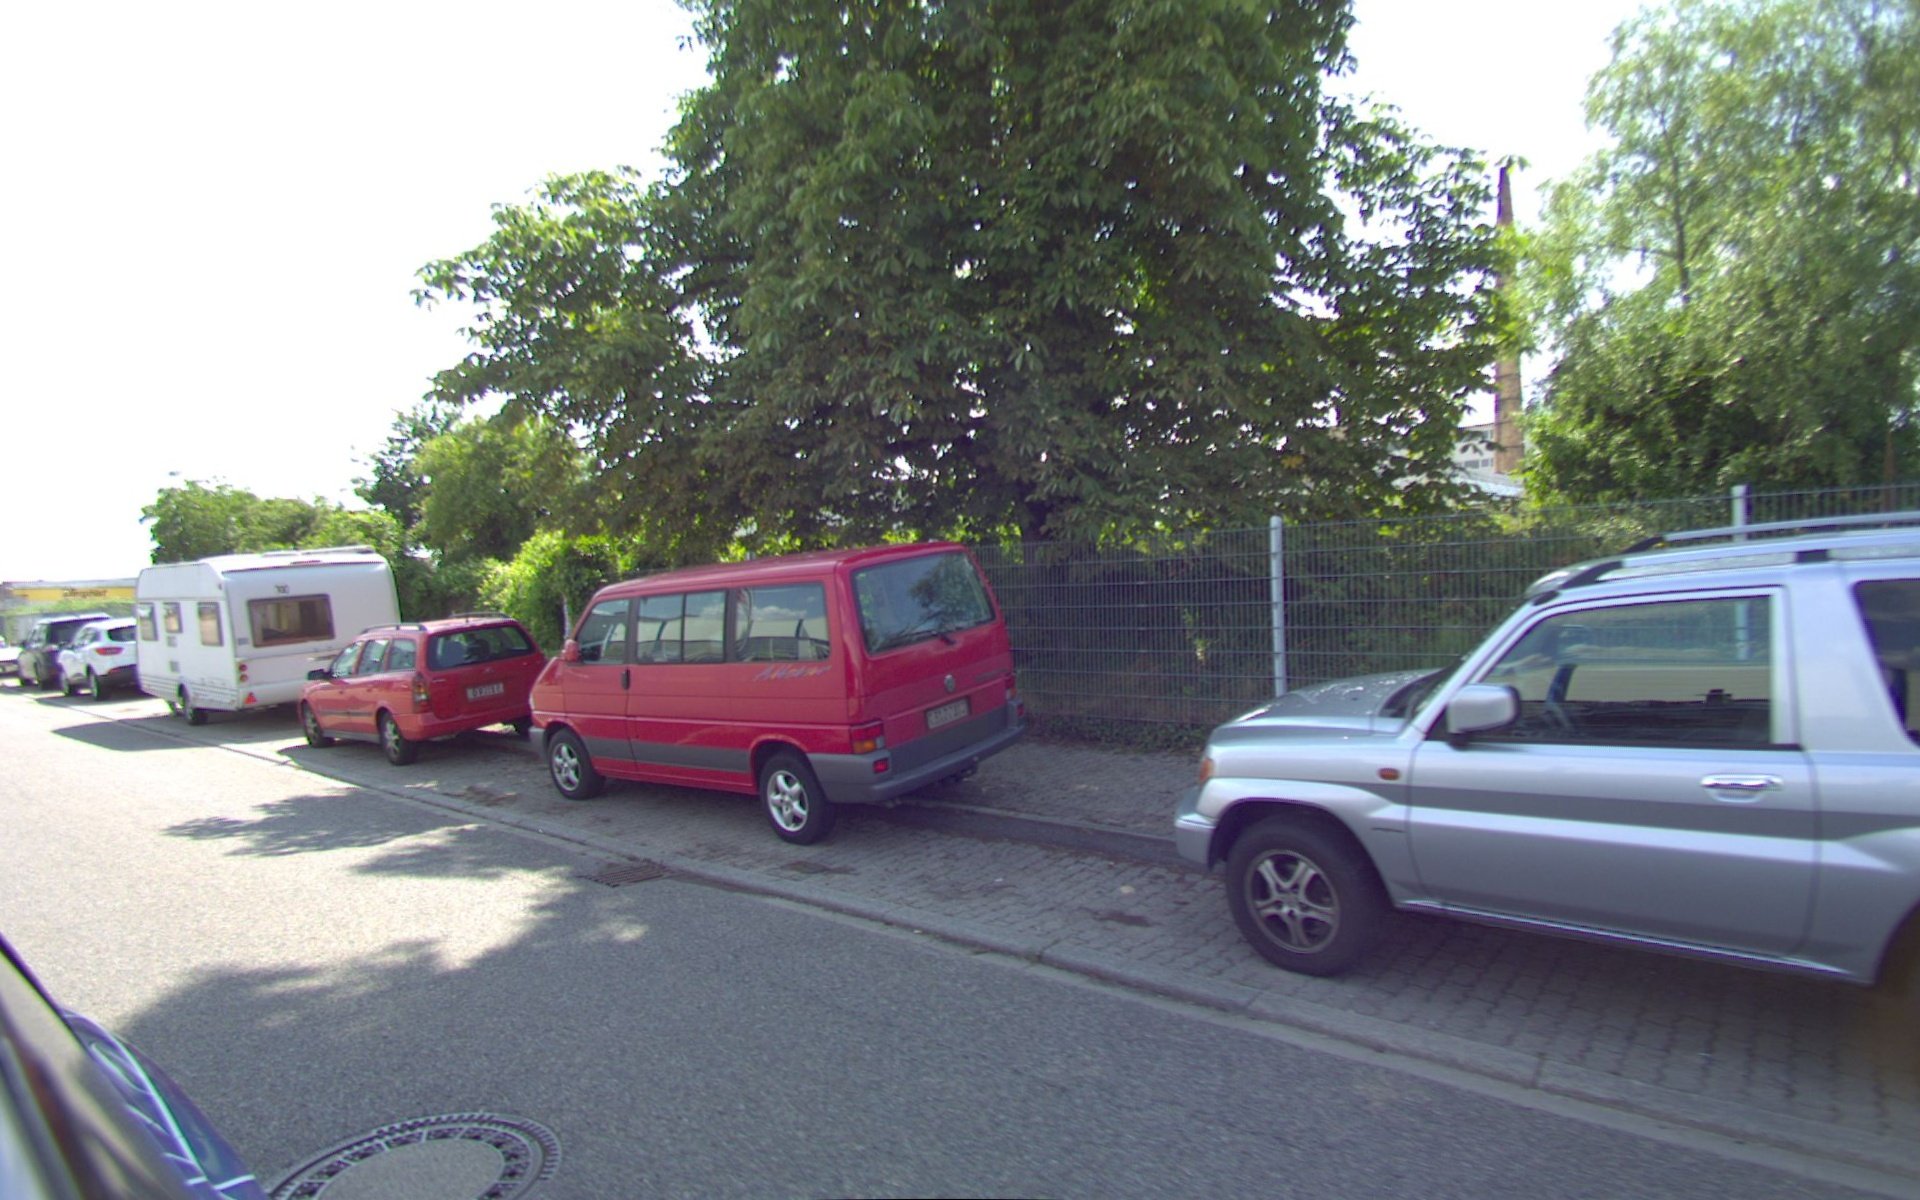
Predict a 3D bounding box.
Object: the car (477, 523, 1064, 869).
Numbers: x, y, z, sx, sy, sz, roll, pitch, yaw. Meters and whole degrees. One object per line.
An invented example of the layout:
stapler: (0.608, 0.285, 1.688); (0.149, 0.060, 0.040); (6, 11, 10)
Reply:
car: (-1.792, 0.578, 8.309); (4.954, 1.968, 1.880); (-2, 5, 40)

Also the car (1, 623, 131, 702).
car: (-23.162, 1.556, 26.161); (4.731, 1.807, 1.809); (-2, -1, 40)

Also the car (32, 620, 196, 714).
car: (-18.546, 1.400, 22.116); (4.437, 1.704, 1.669); (-2, 4, 37)

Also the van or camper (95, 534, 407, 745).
van or camper: (-11.981, 0.575, 16.844); (6.825, 2.824, 2.242); (-2, 3, 39)

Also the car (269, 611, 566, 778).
car: (-6.632, 1.011, 12.170); (4.265, 1.543, 1.609); (-2, 3, 40)

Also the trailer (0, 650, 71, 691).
trailer: (-30.438, 2.238, 32.266); (7.129, 0.889, 2.248); (-2, 4, 42)

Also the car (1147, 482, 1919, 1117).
car: (2.859, 0.523, 3.845); (3.826, 1.815, 1.682); (-2, 3, 42)
